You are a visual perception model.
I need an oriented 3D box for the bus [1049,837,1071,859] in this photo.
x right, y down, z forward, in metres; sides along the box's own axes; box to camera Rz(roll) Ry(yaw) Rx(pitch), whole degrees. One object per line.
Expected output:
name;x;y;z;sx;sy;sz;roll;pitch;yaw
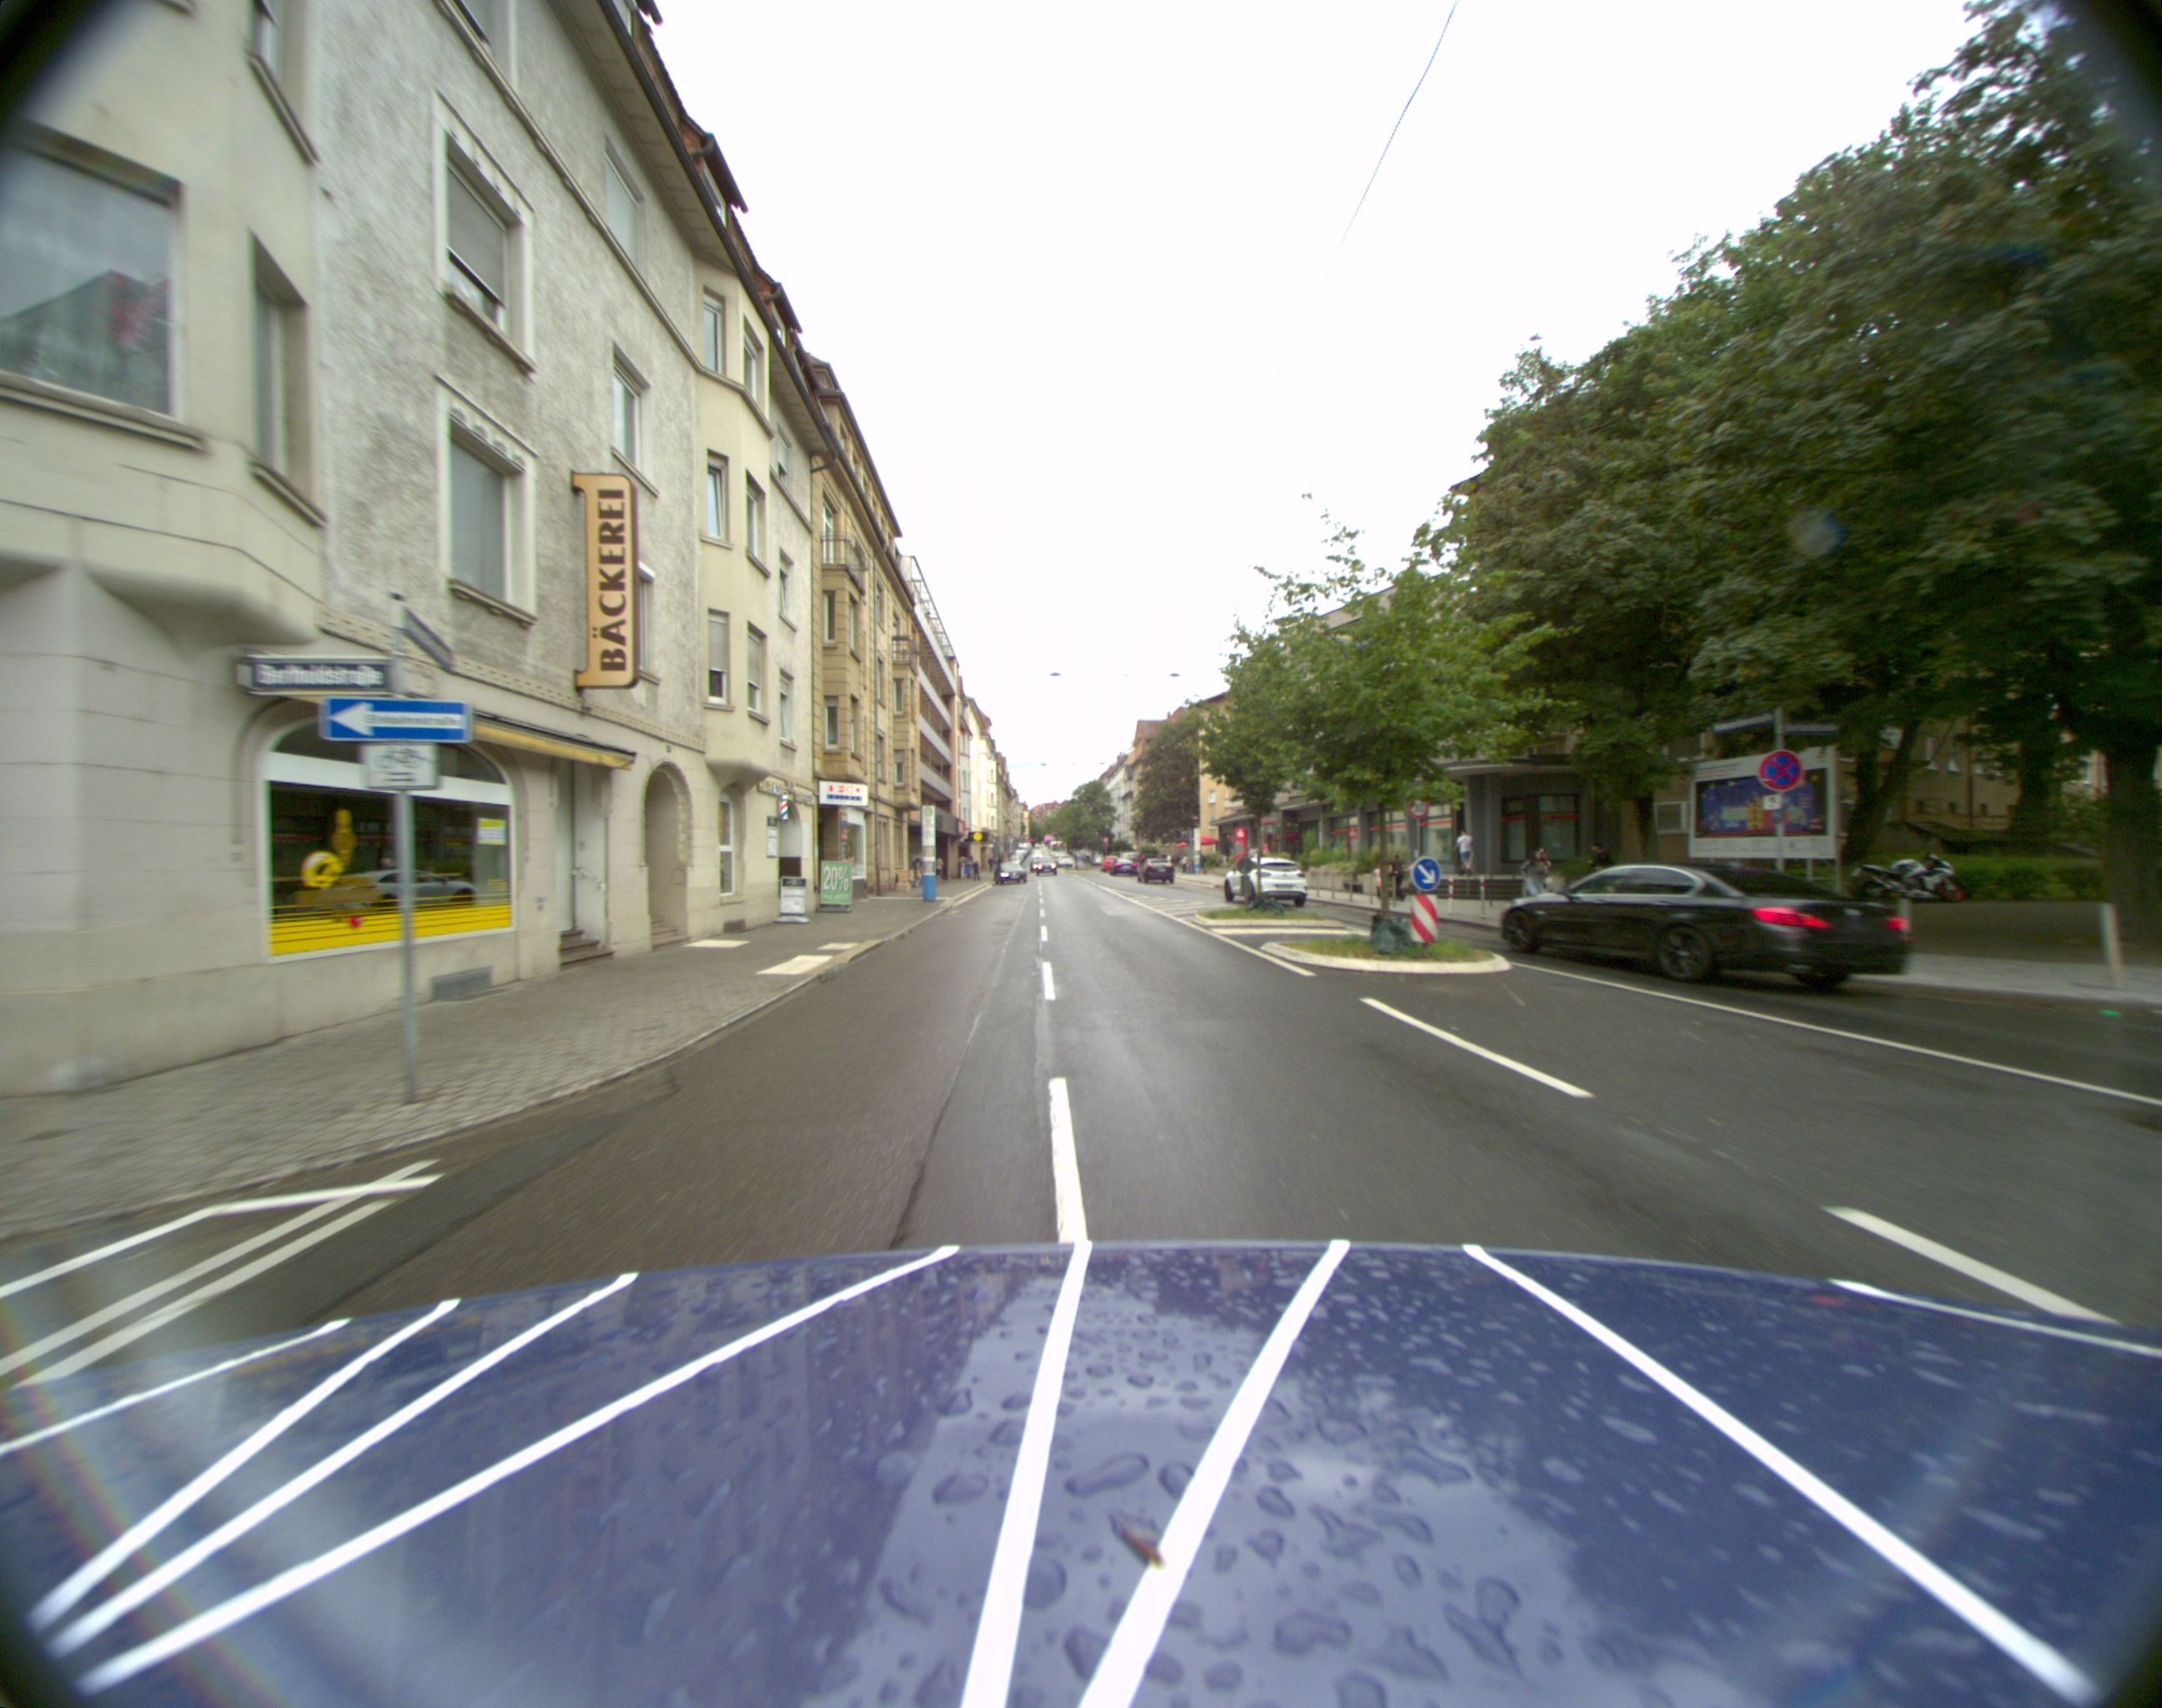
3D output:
bus;-3.548;-1.008;124.508;2.814;3.227;11.954;3;1;-5

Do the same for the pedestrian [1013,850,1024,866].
pedestrian;-6.319;0.425;76.860;0.701;1.637;0.784;2;0;31

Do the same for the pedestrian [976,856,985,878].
pedestrian;-7.490;0.978;56.619;0.627;1.642;0.748;0;0;-3

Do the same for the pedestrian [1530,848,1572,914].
pedestrian;12.664;0.716;20.473;0.658;1.749;0.719;-1;1;-27

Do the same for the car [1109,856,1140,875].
car;3.627;0.931;63.854;1.960;1.503;4.910;-2;0;-4

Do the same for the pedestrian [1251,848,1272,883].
pedestrian;9.614;0.614;40.525;0.724;1.815;0.720;-2;0;-22

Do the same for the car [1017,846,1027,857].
car;-10.849;-0.439;139.203;1.733;1.887;3.549;-2;1;-5

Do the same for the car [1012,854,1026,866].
car;-8.573;0.791;105.449;1.857;1.456;4.202;-2;1;-5

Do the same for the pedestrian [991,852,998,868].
pedestrian;-9.464;0.627;83.060;0.611;1.738;0.698;1;1;-3

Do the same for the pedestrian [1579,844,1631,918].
pedestrian;13.368;0.683;19.394;0.863;1.834;0.693;-1;1;-18

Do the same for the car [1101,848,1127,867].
car;3.400;0.303;78.519;2.112;1.755;5.056;1;2;-4

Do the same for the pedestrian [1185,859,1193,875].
pedestrian;8.527;1.023;60.032;0.469;1.269;0.549;-1;1;-4

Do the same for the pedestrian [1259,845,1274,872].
pedestrian;11.579;0.285;47.476;0.712;1.669;0.801;-1;1;24

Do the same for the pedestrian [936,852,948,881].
pedestrian;-9.172;0.813;50.159;0.597;1.848;0.727;-1;1;0

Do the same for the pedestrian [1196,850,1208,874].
pedestrian;9.071;0.602;57.057;0.591;1.809;0.869;-1;1;-12

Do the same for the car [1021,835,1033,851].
car;-12.792;-2.666;180.118;2.555;3.613;9.045;-1;1;-4

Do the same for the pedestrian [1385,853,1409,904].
pedestrian;10.401;0.801;25.021;0.499;1.663;0.552;-1;1;-7

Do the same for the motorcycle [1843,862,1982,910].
motorcycle;19.155;0.734;17.547;2.056;0.982;0.797;-4;0;12

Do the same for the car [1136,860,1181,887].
car;4.662;1.130;46.257;1.961;1.548;4.241;1;0;-5

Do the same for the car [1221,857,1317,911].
car;6.138;0.917;25.264;1.825;1.560;4.087;3;0;-5

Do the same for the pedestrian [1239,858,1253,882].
pedestrian;9.990;0.981;46.026;0.590;1.412;0.726;-1;1;31

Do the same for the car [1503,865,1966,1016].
car;7.869;0.899;9.914;2.019;1.417;4.498;-1;0;-3

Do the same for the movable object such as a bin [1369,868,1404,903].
movable object such as a bin;10.359;1.059;25.808;0.705;1.128;0.965;-2;1;-7

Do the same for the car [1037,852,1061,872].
car;-2.892;0.721;67.725;1.857;1.646;4.203;-1;0;-6

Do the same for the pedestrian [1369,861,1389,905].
pedestrian;9.891;0.957;25.203;0.434;1.402;0.481;-1;1;-7

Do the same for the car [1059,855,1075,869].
car;-1.831;0.997;97.181;1.900;1.564;4.123;1;1;-4

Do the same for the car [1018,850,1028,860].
car;-9.810;0.135;128.242;1.733;1.486;3.549;-2;1;-5

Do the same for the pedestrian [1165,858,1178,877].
pedestrian;8.125;1.201;68.354;0.793;1.699;0.761;-4;1;-28

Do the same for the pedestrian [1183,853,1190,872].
pedestrian;8.545;0.706;61.729;0.438;1.540;0.533;-1;1;-4

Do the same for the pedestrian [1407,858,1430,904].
pedestrian;11.107;0.885;25.011;0.461;1.465;0.530;-1;1;-7

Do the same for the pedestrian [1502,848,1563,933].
pedestrian;9.988;0.785;16.825;0.724;1.815;0.853;-2;0;-26

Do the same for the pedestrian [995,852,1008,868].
pedestrian;-8.629;0.650;82.428;0.856;1.738;1.060;0;1;-45

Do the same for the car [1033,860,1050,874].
car;-4.415;1.445;85.154;1.810;1.411;3.999;-2;0;-3

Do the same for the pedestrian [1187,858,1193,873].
pedestrian;8.546;0.913;59.570;0.393;1.110;0.386;-1;1;-4

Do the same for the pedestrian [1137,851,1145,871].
pedestrian;6.041;0.685;76.458;0.703;2.002;0.782;-2;1;-7

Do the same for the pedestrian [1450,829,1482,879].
pedestrian;14.095;0.008;27.821;0.724;1.815;0.720;-2;0;-31

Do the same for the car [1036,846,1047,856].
car;-7.280;-0.598;139.044;1.796;1.768;3.901;-1;1;-4

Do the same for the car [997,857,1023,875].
car;-5.629;0.944;60.583;1.739;1.302;3.766;-3;1;-1

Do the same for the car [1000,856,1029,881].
car;-4.408;0.938;50.604;1.735;1.538;3.980;-1;1;-2

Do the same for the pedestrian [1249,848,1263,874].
pedestrian;11.179;0.430;48.558;0.715;1.669;0.713;-1;1;-4

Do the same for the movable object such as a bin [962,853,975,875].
movable object such as a bin;-9.086;0.809;61.375;1.002;1.783;1.295;-1;1;-5

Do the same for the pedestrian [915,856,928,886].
pedestrian;-8.493;0.894;40.388;0.563;1.563;0.626;-1;1;-20
